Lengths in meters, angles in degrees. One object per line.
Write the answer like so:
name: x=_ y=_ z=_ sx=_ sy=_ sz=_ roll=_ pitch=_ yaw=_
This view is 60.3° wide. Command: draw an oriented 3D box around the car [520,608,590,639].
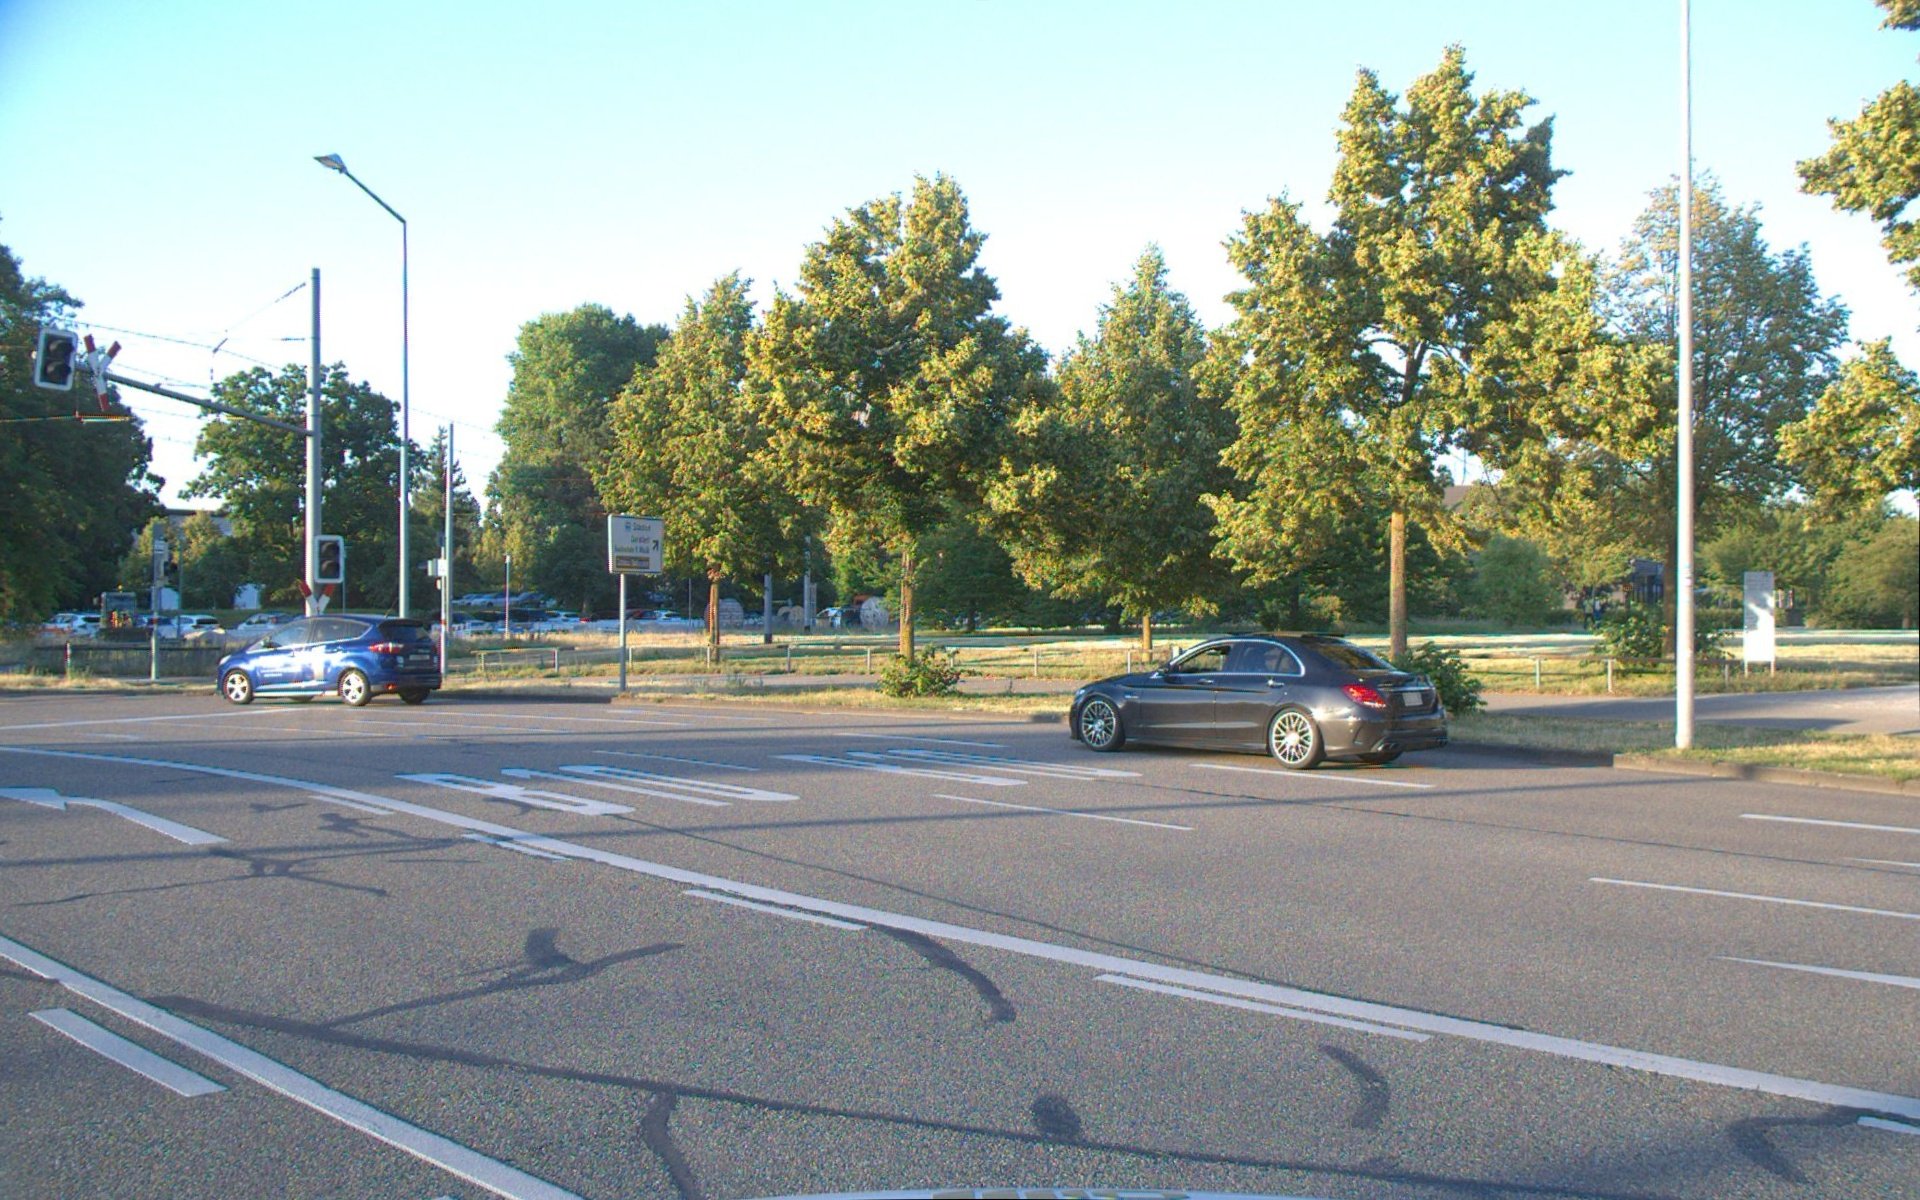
car: x=-28.209 y=1.629 z=115.375 sx=4.496 sy=2.049 sz=1.997 roll=0 pitch=0 yaw=-7

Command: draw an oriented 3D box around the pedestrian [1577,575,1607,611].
pedestrian: x=29.042 y=-0.333 z=76.001 sx=1.047 sy=1.646 sz=0.911 roll=0 pitch=0 yaw=4

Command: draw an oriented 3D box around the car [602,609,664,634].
car: x=-22.086 y=1.428 z=111.660 sx=3.918 sy=1.632 sz=1.994 roll=0 pitch=0 yaw=34

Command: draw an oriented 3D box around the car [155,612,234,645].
car: x=-39.058 y=1.417 z=84.386 sx=3.918 sy=1.632 sz=1.994 roll=0 pitch=0 yaw=34

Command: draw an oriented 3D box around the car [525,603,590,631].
car: x=-30.010 y=1.287 z=123.556 sx=4.496 sy=2.049 sz=1.997 roll=0 pitch=0 yaw=-7

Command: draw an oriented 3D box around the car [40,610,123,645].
car: x=-42.582 y=1.325 z=80.162 sx=3.918 sy=1.632 sz=1.994 roll=0 pitch=0 yaw=34

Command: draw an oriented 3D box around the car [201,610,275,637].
car: x=-46.259 y=1.505 z=105.976 sx=1.864 sy=1.691 sz=3.985 roll=0 pitch=0 yaw=36

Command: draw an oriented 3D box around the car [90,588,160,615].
car: x=-65.670 y=0.129 z=130.168 sx=1.957 sy=2.049 sz=4.588 roll=0 pitch=0 yaw=31

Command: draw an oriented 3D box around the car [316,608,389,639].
car: x=-33.906 y=1.295 z=92.283 sx=3.918 sy=1.632 sz=1.994 roll=0 pitch=0 yaw=34

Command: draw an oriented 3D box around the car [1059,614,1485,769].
car: x=3.470 y=0.963 z=19.047 sx=1.984 sy=1.531 sz=4.546 roll=2 pitch=-1 yaw=-44

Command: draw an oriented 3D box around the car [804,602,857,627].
car: x=-8.796 y=0.977 z=112.158 sx=1.722 sy=1.646 sz=3.944 roll=0 pitch=0 yaw=-39

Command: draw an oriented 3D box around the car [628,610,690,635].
car: x=-20.656 y=1.520 z=113.357 sx=3.918 sy=1.632 sz=1.994 roll=0 pitch=0 yaw=34

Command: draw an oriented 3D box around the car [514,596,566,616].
car: x=-36.370 y=0.530 z=143.283 sx=3.902 sy=1.736 sz=2.002 roll=0 pitch=0 yaw=8

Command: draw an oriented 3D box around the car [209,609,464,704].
car: x=-11.343 y=0.983 z=30.143 sx=4.080 sy=1.611 sz=1.916 roll=0 pitch=0 yaw=19

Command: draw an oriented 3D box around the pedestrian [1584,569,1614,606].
pedestrian: x=28.746 y=-0.561 z=74.391 sx=1.047 sy=1.646 sz=0.911 roll=0 pitch=0 yaw=4

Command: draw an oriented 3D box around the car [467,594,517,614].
car: x=-42.398 y=0.351 z=149.857 sx=1.960 sy=1.847 sz=3.984 roll=0 pitch=0 yaw=36

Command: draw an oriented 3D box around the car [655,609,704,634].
car: x=-21.467 y=1.623 z=126.622 sx=1.977 sy=1.782 sz=4.542 roll=0 pitch=1 yaw=-35

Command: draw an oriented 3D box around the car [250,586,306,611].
car: x=-58.310 y=-0.134 z=141.466 sx=1.959 sy=2.049 sz=4.102 roll=0 pitch=0 yaw=35

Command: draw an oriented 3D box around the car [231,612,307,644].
car: x=-37.171 y=1.479 z=88.909 sx=3.918 sy=1.632 sz=1.994 roll=0 pitch=0 yaw=34

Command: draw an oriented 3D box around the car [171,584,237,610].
car: x=-62.074 y=-0.242 z=135.863 sx=1.960 sy=2.049 sz=4.582 roll=0 pitch=0 yaw=35

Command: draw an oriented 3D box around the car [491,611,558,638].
car: x=-27.111 y=1.487 z=102.852 sx=3.918 sy=1.632 sz=1.994 roll=0 pitch=0 yaw=34
